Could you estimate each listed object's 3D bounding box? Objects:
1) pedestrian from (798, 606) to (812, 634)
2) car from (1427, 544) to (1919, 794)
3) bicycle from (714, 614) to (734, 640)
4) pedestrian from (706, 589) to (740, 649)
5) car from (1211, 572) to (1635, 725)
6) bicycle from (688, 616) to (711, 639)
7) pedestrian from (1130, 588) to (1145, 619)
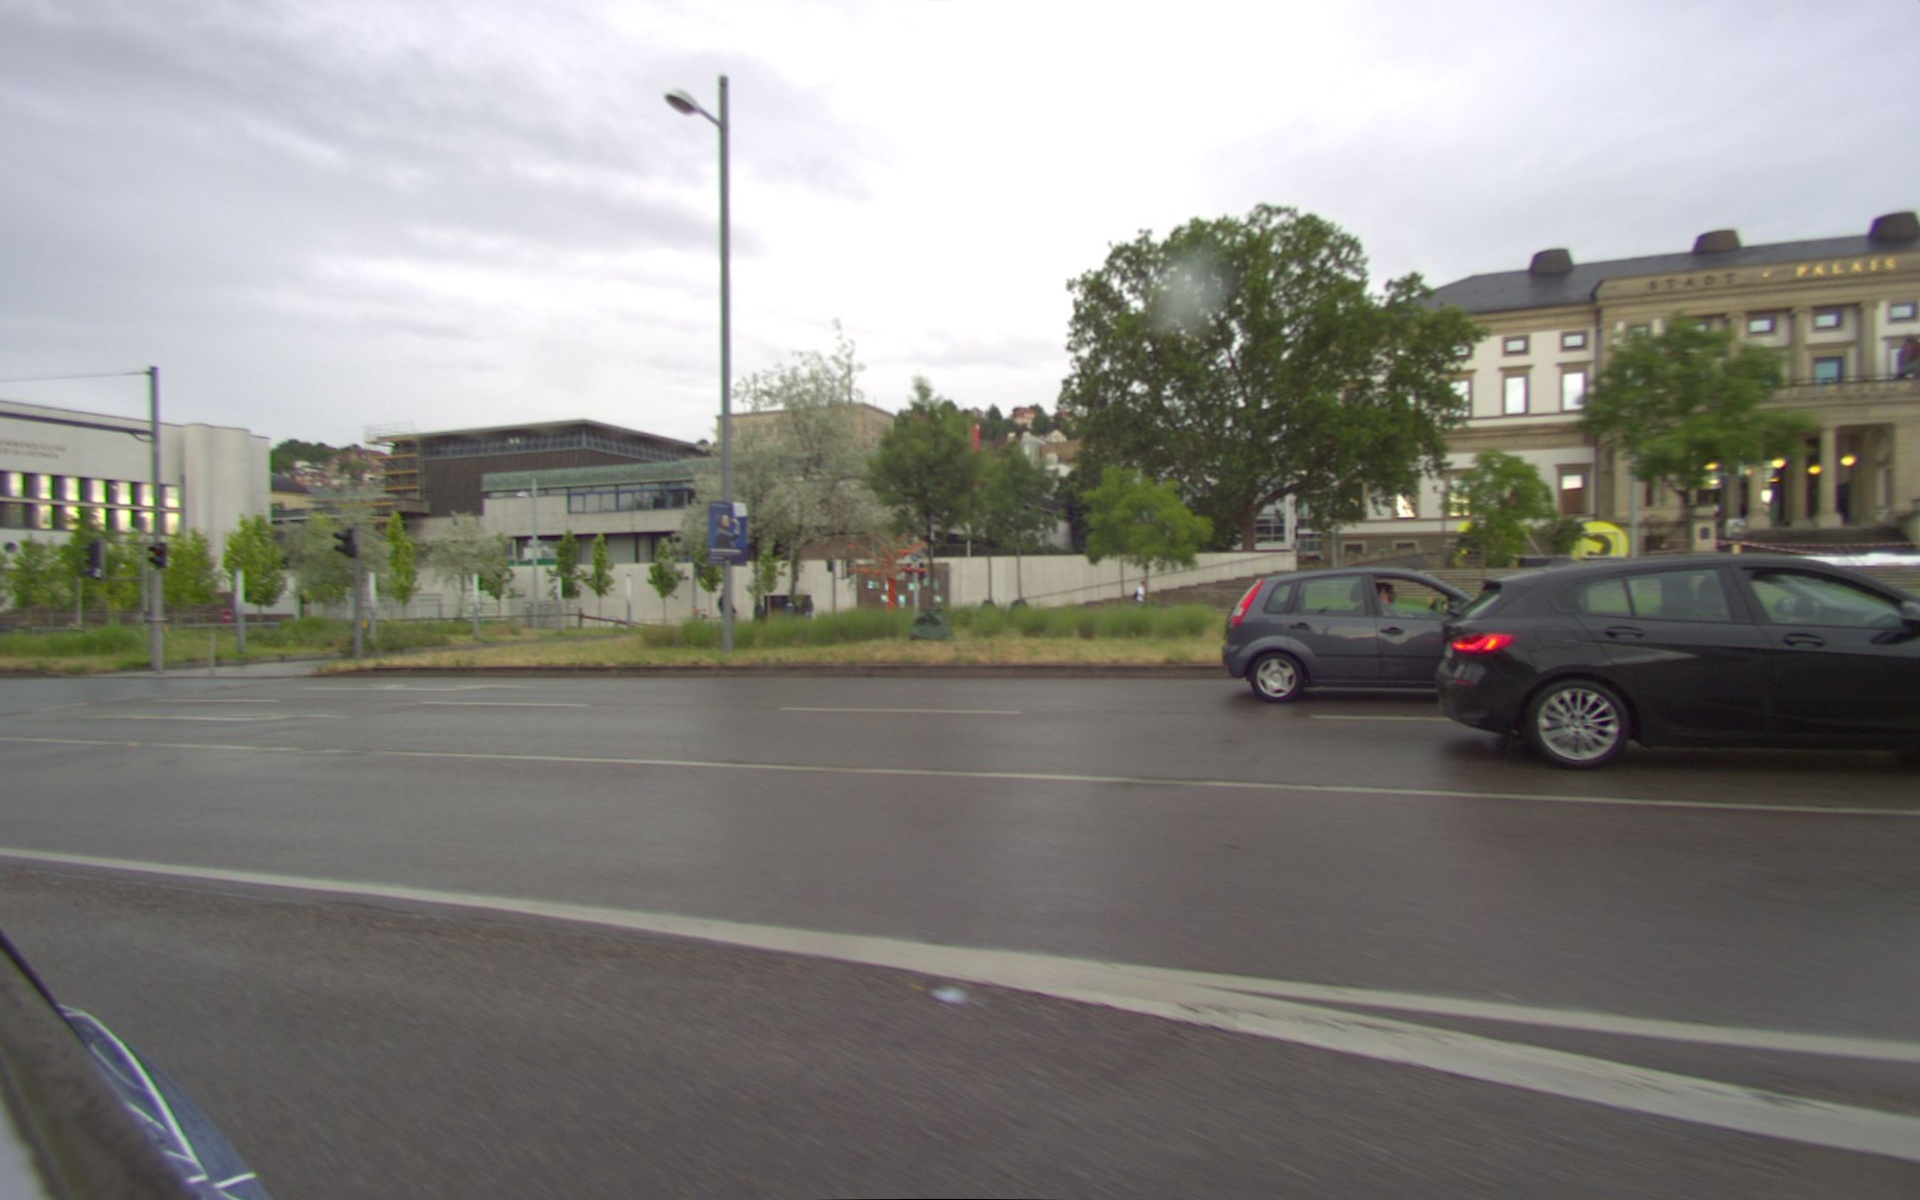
[{"bbox_3d":[-7.998,1.020,52.191,0.577,1.393,0.462,1,2,43],"label":"pedestrian"},{"bbox_3d":[5.622,0.399,6.974,4.193,1.482,1.747,-2,1,22],"label":"car"},{"bbox_3d":[-12.951,1.467,55.627,0.551,1.317,1.478,-1,2,8],"label":"bicycle"},{"bbox_3d":[-8.671,0.682,37.044,0.723,2.107,0.762,-7,-1,29],"label":"pedestrian"},{"bbox_3d":[4.790,0.447,10.911,3.875,1.426,1.536,0,1,22],"label":"car"},{"bbox_3d":[-14.594,1.549,56.761,0.525,1.170,1.696,0,2,14],"label":"bicycle"},{"bbox_3d":[8.428,0.166,48.054,0.628,1.433,0.490,0,1,19],"label":"pedestrian"}]
